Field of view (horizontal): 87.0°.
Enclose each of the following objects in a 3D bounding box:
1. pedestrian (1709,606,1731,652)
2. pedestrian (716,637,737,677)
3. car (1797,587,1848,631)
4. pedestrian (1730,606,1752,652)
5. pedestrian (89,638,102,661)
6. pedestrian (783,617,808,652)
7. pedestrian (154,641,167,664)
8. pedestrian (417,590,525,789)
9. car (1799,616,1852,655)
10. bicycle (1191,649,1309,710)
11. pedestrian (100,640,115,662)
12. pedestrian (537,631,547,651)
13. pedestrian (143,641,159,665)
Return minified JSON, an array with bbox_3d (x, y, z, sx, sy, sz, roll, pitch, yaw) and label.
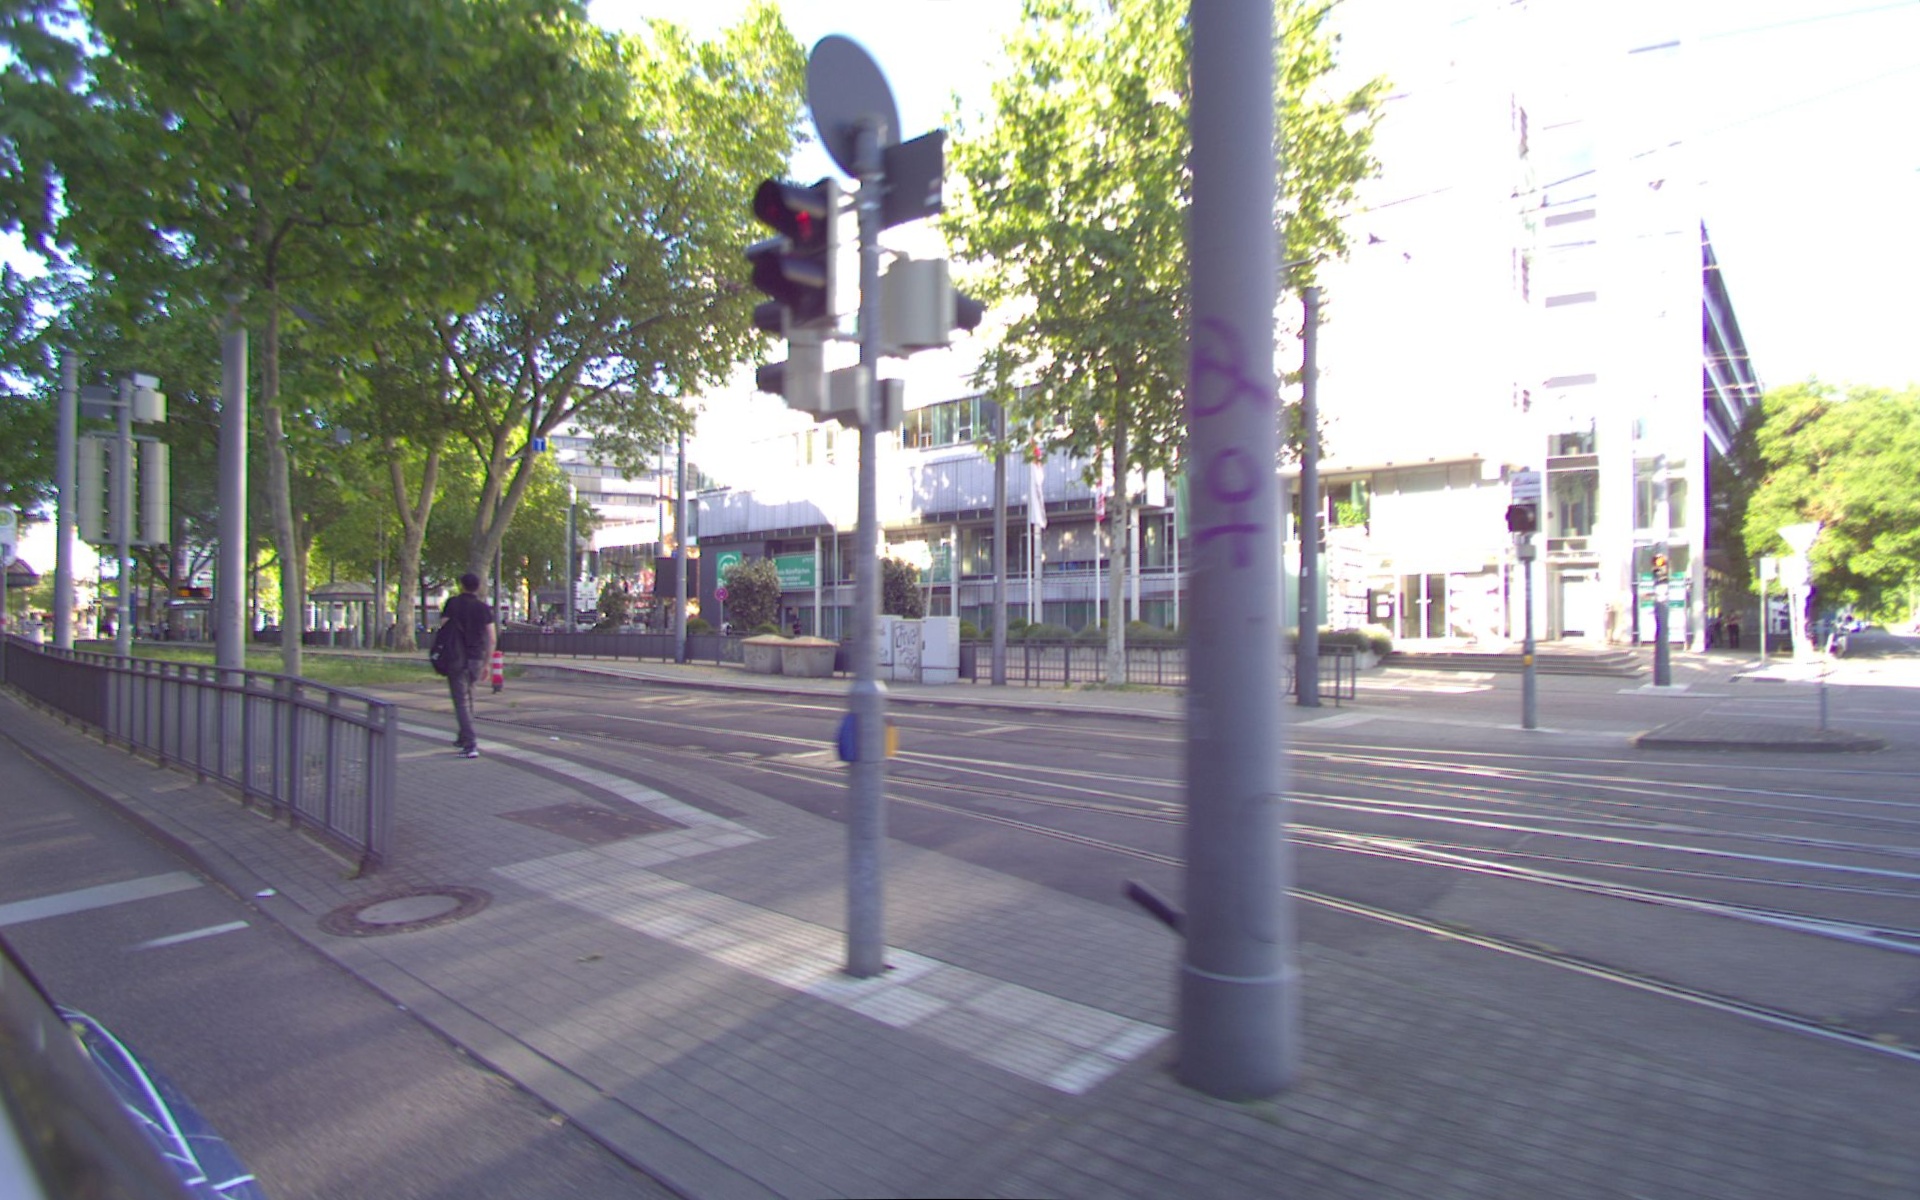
[{"bbox_3d":[34.293,1.300,45.661,0.618,2.029,0.640,1,-2,-45],"label":"pedestrian"},{"bbox_3d":[-11.654,2.839,50.455,0.833,1.991,0.599,-3,-1,40],"label":"pedestrian"},{"bbox_3d":[54.835,0.579,64.449,2.230,2.675,5.062,-2,-2,39],"label":"car"},{"bbox_3d":[34.752,1.284,45.044,0.618,2.029,0.640,1,-2,-45],"label":"pedestrian"},{"bbox_3d":[-67.520,3.859,79.031,0.674,1.767,0.649,-2,-2,34],"label":"pedestrian"},{"bbox_3d":[-7.701,1.619,47.453,0.767,1.604,0.896,-2,-3,41],"label":"pedestrian"},{"bbox_3d":[-55.051,3.613,69.670,0.549,1.509,0.548,-2,-2,30],"label":"pedestrian"},{"bbox_3d":[-4.601,0.808,9.520,0.725,1.760,0.712,0,-2,-43],"label":"pedestrian"},{"bbox_3d":[39.373,1.599,46.078,1.734,1.666,3.900,-2,-2,40],"label":"car"},{"bbox_3d":[4.877,1.316,17.097,0.803,0.953,1.728,1,-2,-42],"label":"bicycle"},{"bbox_3d":[-67.044,3.986,79.590,0.697,1.709,0.678,-2,-2,34],"label":"pedestrian"},{"bbox_3d":[-34.164,3.380,82.734,0.571,1.616,0.580,0,-2,-43],"label":"pedestrian"},{"bbox_3d":[-56.849,3.721,71.135,0.667,1.654,0.662,-2,-2,30],"label":"pedestrian"}]
